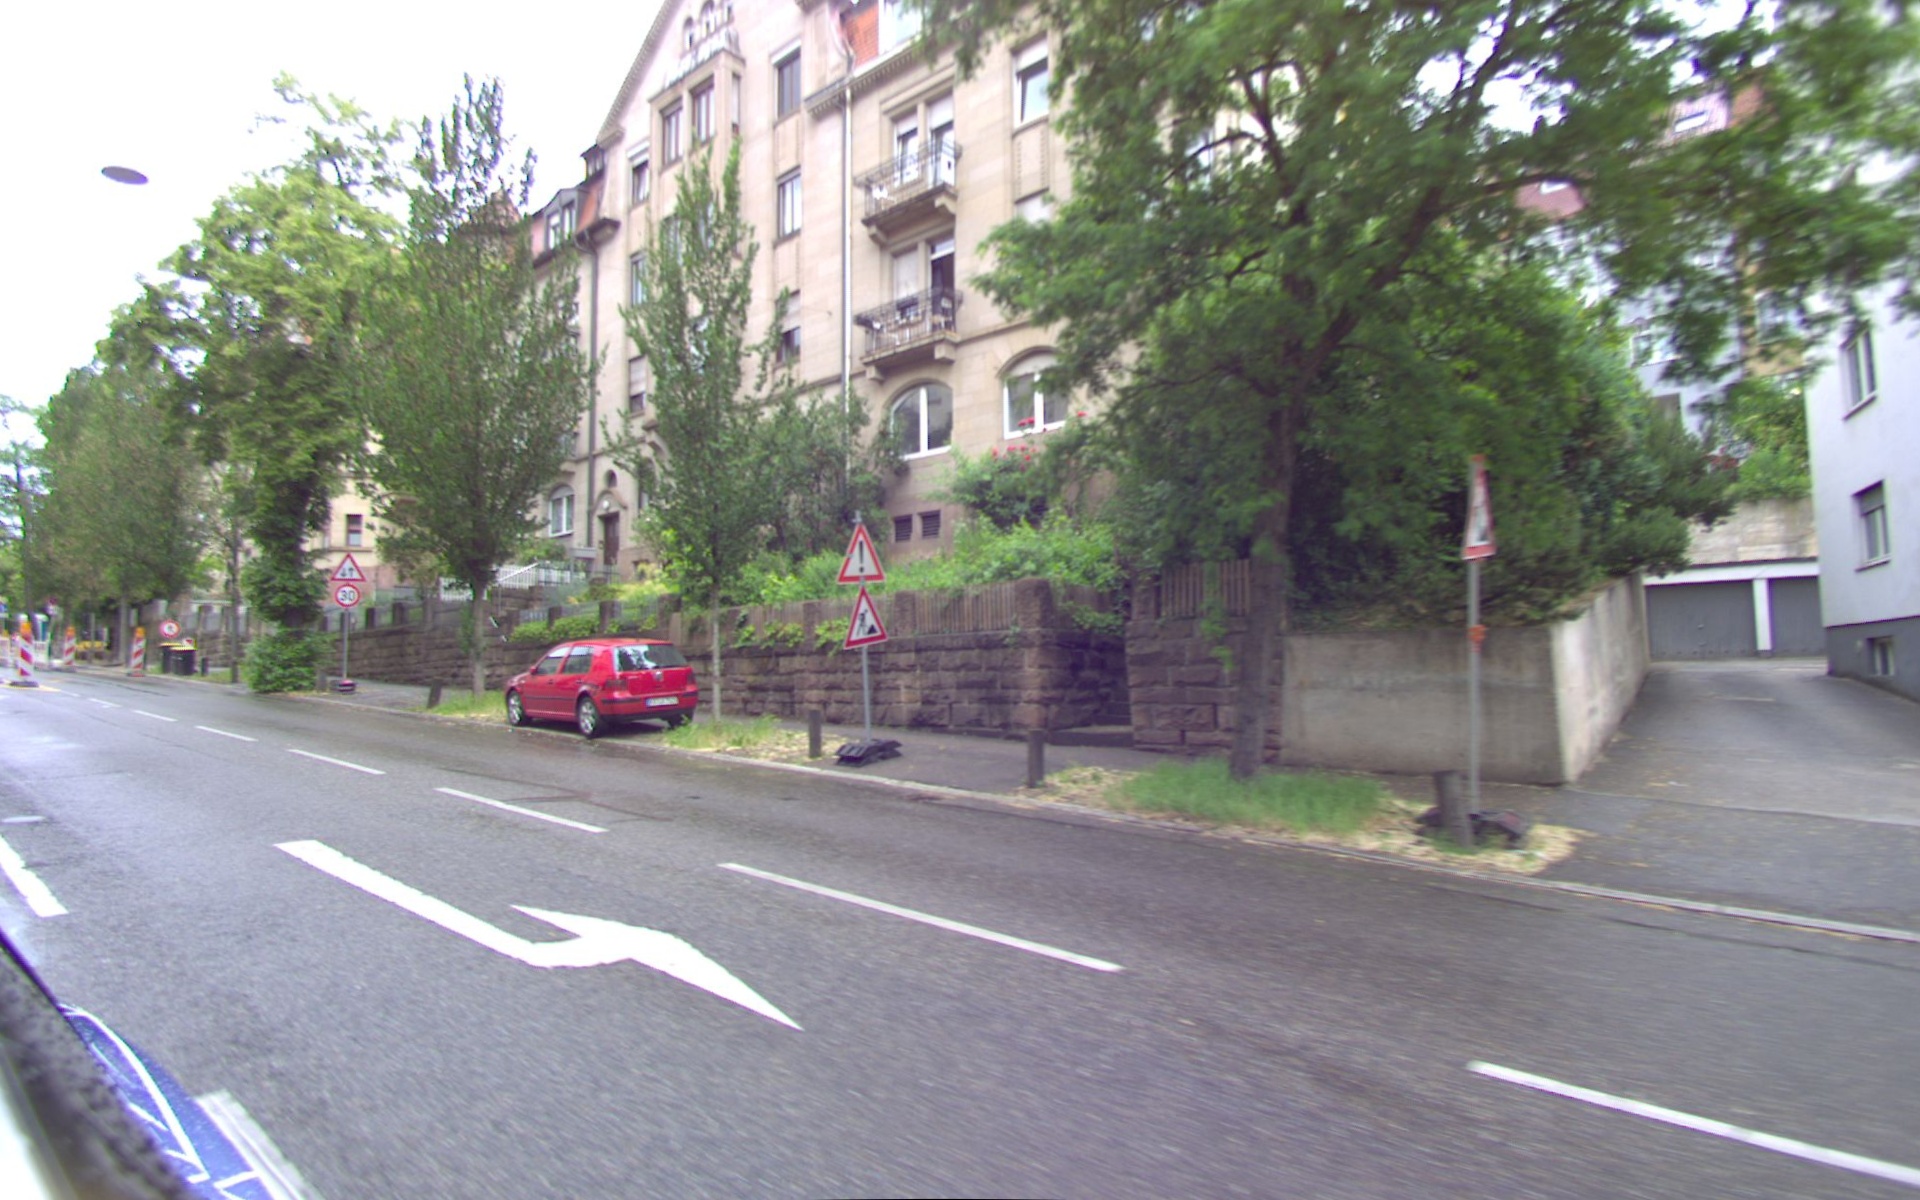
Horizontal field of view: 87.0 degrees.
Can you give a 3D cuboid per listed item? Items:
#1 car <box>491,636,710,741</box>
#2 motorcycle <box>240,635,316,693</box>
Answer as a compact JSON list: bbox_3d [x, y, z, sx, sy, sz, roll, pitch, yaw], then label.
[{"bbox_3d":[-5.868,1.319,16.291,4.063,1.462,1.596,-2,-2,42],"label":"car"},{"bbox_3d":[-18.054,1.656,26.754,3.058,1.425,0.792,-2,-1,39],"label":"motorcycle"}]
